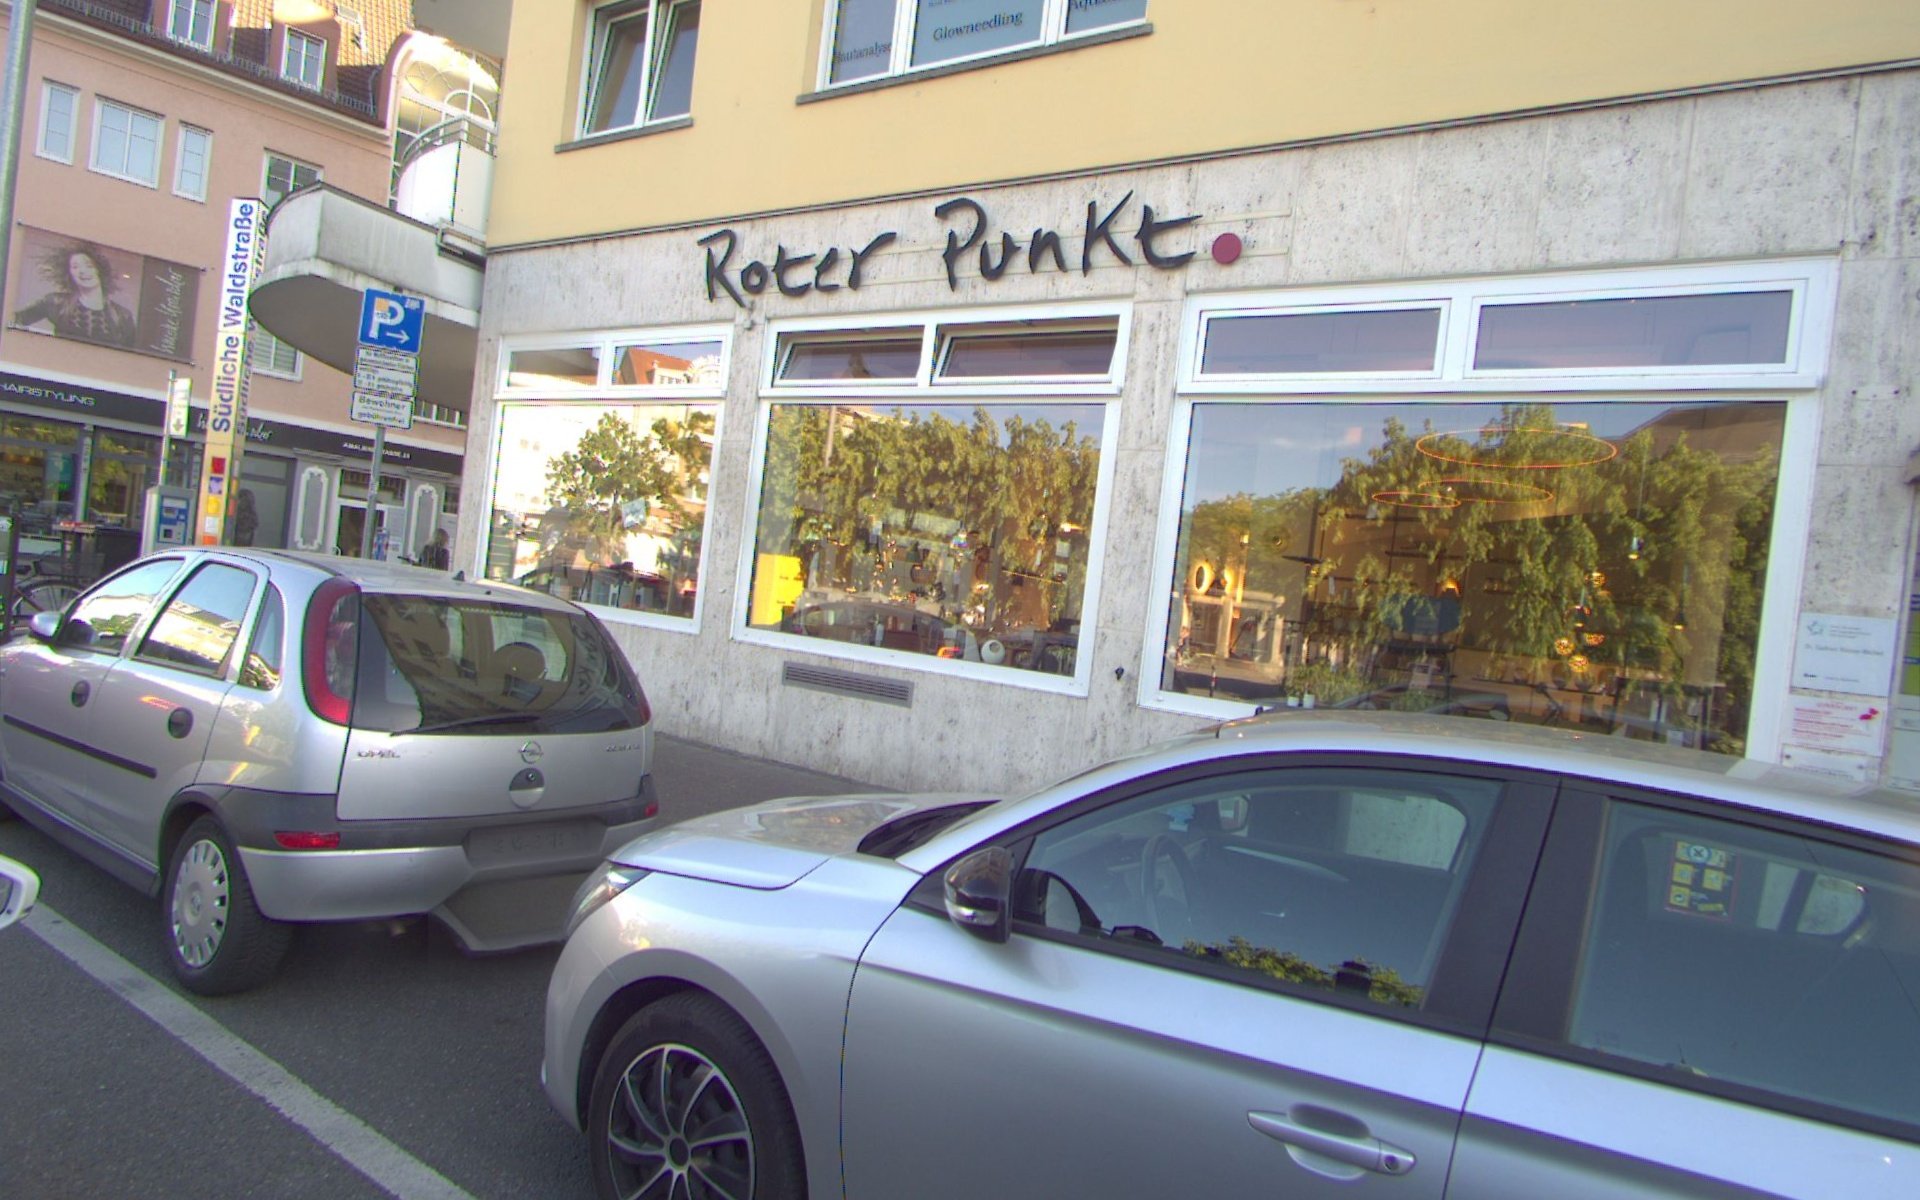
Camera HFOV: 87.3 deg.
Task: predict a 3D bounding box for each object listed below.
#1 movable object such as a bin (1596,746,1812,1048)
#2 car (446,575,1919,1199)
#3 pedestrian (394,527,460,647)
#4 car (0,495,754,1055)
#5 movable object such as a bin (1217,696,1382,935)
[{"bbox_3d":[3.323,1.281,4.563,0.609,1.082,0.703,7,3,31],"label":"movable object such as a bin"},{"bbox_3d":[0.944,0.927,2.201,4.008,1.444,1.673,7,-1,30],"label":"car"},{"bbox_3d":[-7.709,-0.193,14.573,0.654,1.654,0.625,5,2,-19],"label":"pedestrian"},{"bbox_3d":[-2.945,0.418,4.441,3.822,1.411,1.624,7,-1,33],"label":"car"},{"bbox_3d":[1.857,1.122,5.476,0.609,1.082,0.703,7,3,31],"label":"movable object such as a bin"}]
